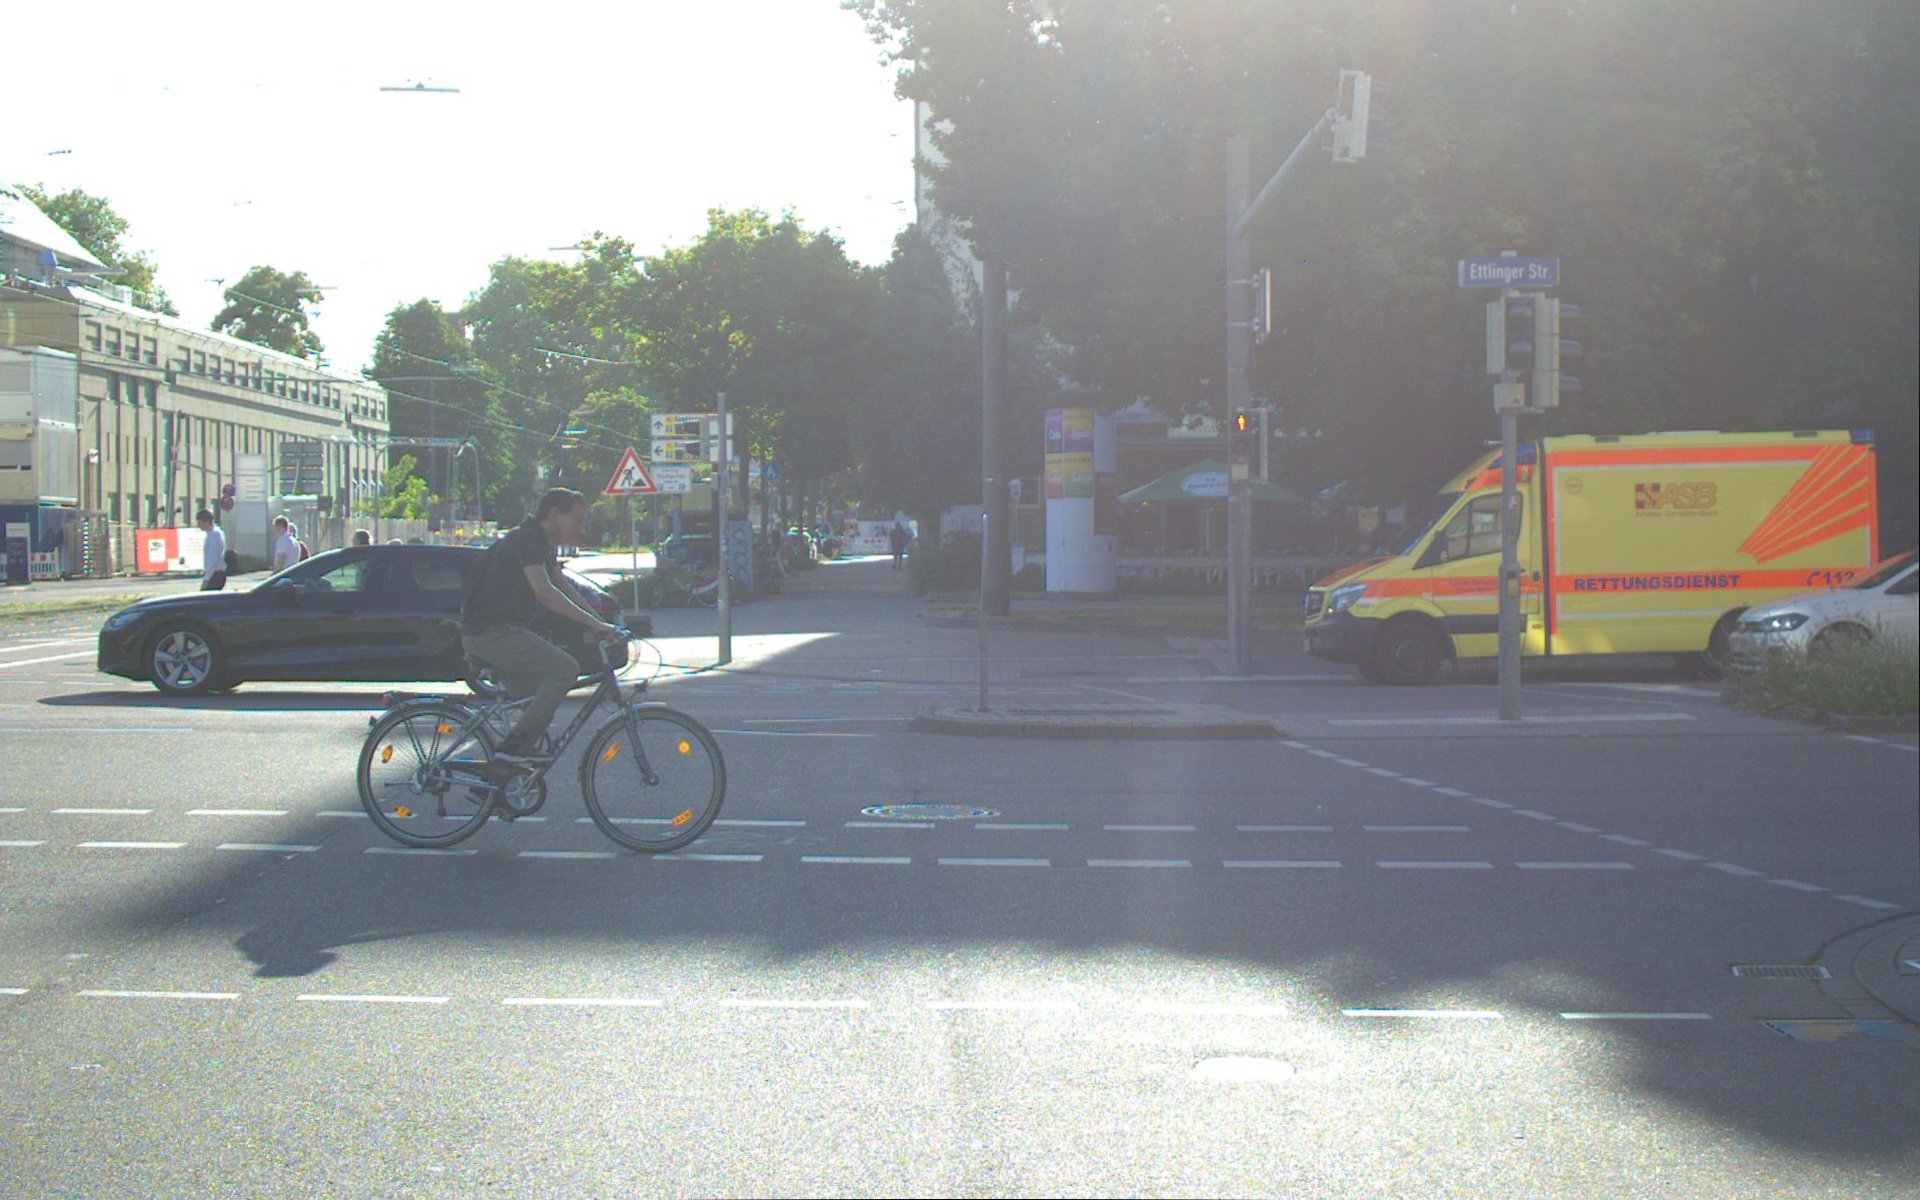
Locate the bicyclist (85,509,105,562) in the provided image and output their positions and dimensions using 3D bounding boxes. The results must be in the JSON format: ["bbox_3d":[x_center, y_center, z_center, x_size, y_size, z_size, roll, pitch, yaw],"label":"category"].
[{"bbox_3d":[-32.894,-2.448,130.700,0.571,2.017,0.762,0,1,-2],"label":"bicyclist"}]

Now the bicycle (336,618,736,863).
[{"bbox_3d":[-2.041,0.666,16.688,1.813,1.081,0.766,1,3,3],"label":"bicycle"}]

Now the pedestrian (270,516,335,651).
[{"bbox_3d":[-8.846,-0.227,46.267,0.739,1.797,0.532,0,1,5],"label":"pedestrian"}]

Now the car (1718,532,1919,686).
[{"bbox_3d":[9.525,0.060,33.115,4.042,1.429,1.632,-1,1,-2],"label":"car"}]

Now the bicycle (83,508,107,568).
[{"bbox_3d":[-32.893,-2.353,130.699,0.571,2.288,1.422,0,1,-2],"label":"bicycle"}]

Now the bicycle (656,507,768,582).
[{"bbox_3d":[-5.869,-1.305,81.473,2.547,1.737,1.037,1,0,0],"label":"bicycle"}]

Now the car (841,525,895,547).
[{"bbox_3d":[-5.681,-3.929,211.139,3.217,1.259,1.373,1,0,-5],"label":"car"}]

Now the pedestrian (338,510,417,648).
[{"bbox_3d":[-7.627,-0.278,45.020,0.870,1.797,0.664,0,1,5],"label":"pedestrian"}]

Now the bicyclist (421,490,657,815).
[{"bbox_3d":[-2.029,0.237,16.668,1.002,1.507,0.766,1,3,3],"label":"bicyclist"}]

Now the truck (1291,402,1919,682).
[{"bbox_3d":[7.078,-0.646,38.378,6.467,3.005,2.725,0,1,-1],"label":"truck"}]

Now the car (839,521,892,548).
[{"bbox_3d":[-5.884,-4.068,213.432,3.214,1.583,1.446,1,0,-4],"label":"car"}]

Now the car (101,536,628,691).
[{"bbox_3d":[-5.603,0.135,32.852,4.735,1.410,2.000,0,0,-2],"label":"car"}]

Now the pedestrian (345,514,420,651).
[{"bbox_3d":[-7.674,-0.235,45.687,0.870,1.797,0.532,0,1,5],"label":"pedestrian"}]

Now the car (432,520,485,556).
[{"bbox_3d":[-22.791,-2.830,156.432,1.894,1.601,4.501,-1,1,-2],"label":"car"}]

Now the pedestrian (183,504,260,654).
[{"bbox_3d":[-9.480,-0.273,44.132,0.802,1.911,0.637,0,1,5],"label":"pedestrian"}]

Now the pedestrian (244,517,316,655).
[{"bbox_3d":[-8.939,-0.187,45.214,0.739,1.797,0.716,0,1,5],"label":"pedestrian"}]
